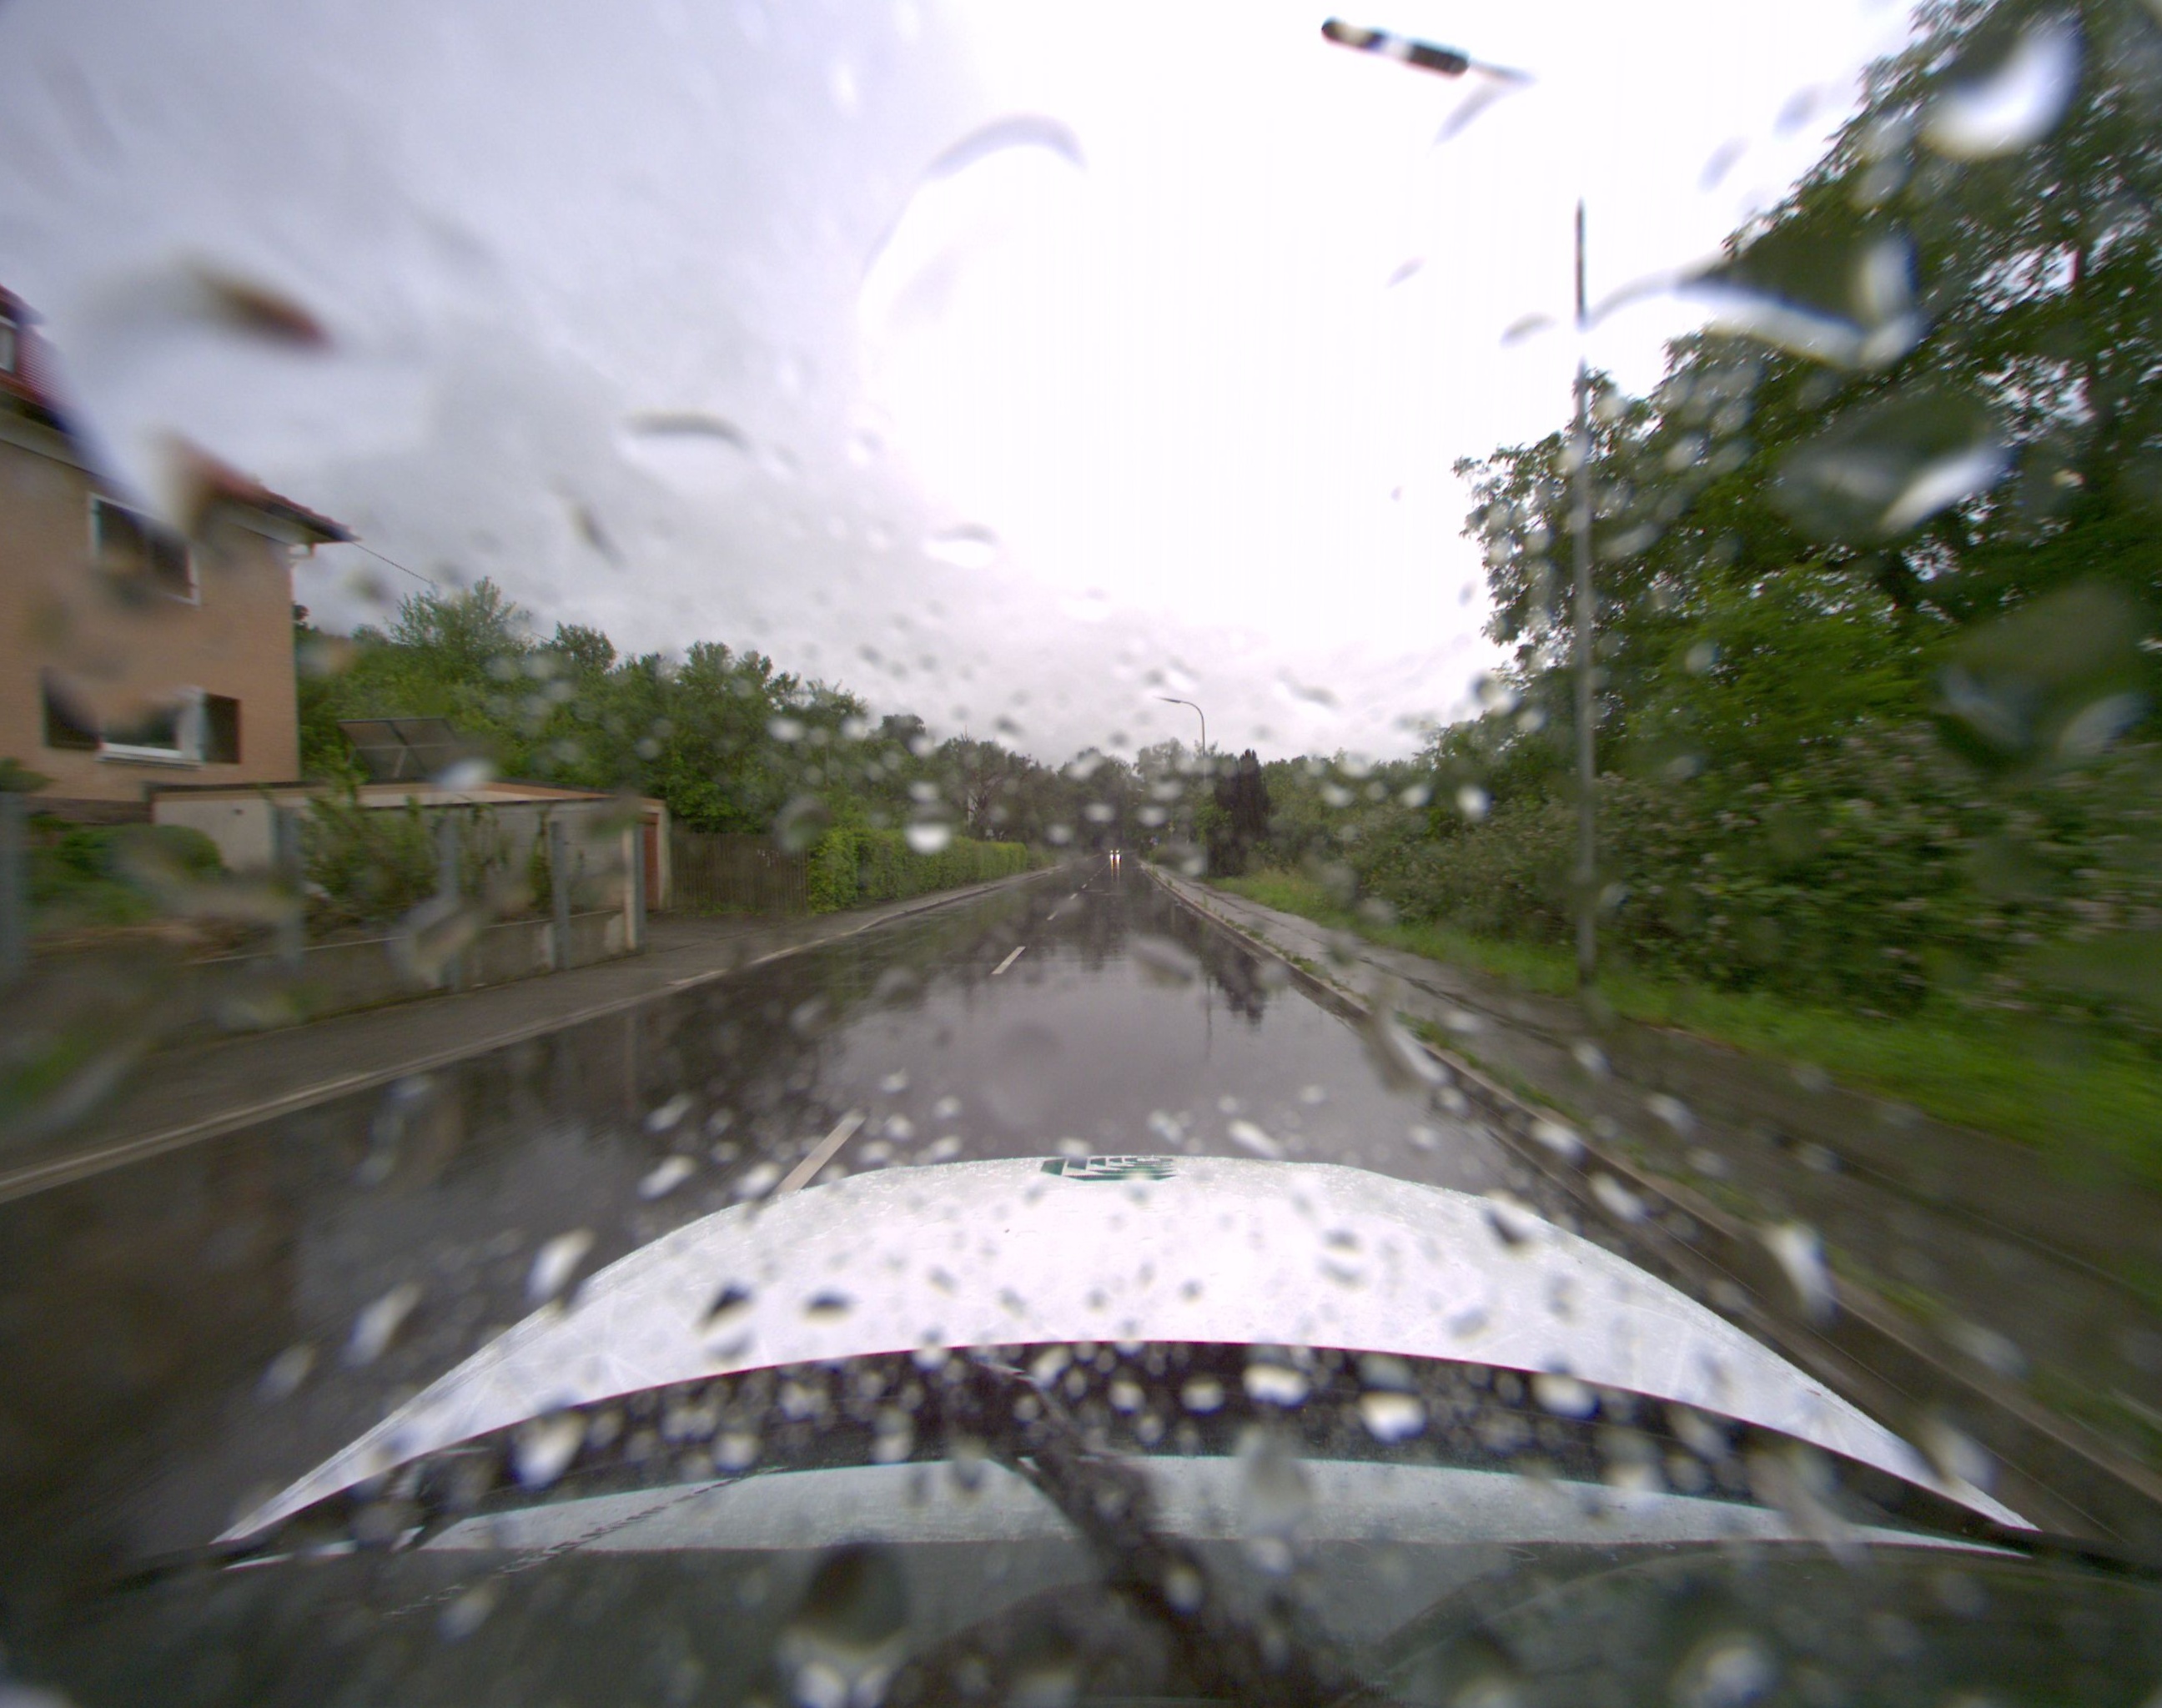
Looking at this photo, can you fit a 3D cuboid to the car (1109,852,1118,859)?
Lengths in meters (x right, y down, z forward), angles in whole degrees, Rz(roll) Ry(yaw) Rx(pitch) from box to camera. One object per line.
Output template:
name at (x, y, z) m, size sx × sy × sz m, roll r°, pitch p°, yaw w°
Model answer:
car at (7.564, 0.298, 187.508) m, size 1.985 × 1.454 × 4.431 m, roll 0°, pitch 1°, yaw 3°
